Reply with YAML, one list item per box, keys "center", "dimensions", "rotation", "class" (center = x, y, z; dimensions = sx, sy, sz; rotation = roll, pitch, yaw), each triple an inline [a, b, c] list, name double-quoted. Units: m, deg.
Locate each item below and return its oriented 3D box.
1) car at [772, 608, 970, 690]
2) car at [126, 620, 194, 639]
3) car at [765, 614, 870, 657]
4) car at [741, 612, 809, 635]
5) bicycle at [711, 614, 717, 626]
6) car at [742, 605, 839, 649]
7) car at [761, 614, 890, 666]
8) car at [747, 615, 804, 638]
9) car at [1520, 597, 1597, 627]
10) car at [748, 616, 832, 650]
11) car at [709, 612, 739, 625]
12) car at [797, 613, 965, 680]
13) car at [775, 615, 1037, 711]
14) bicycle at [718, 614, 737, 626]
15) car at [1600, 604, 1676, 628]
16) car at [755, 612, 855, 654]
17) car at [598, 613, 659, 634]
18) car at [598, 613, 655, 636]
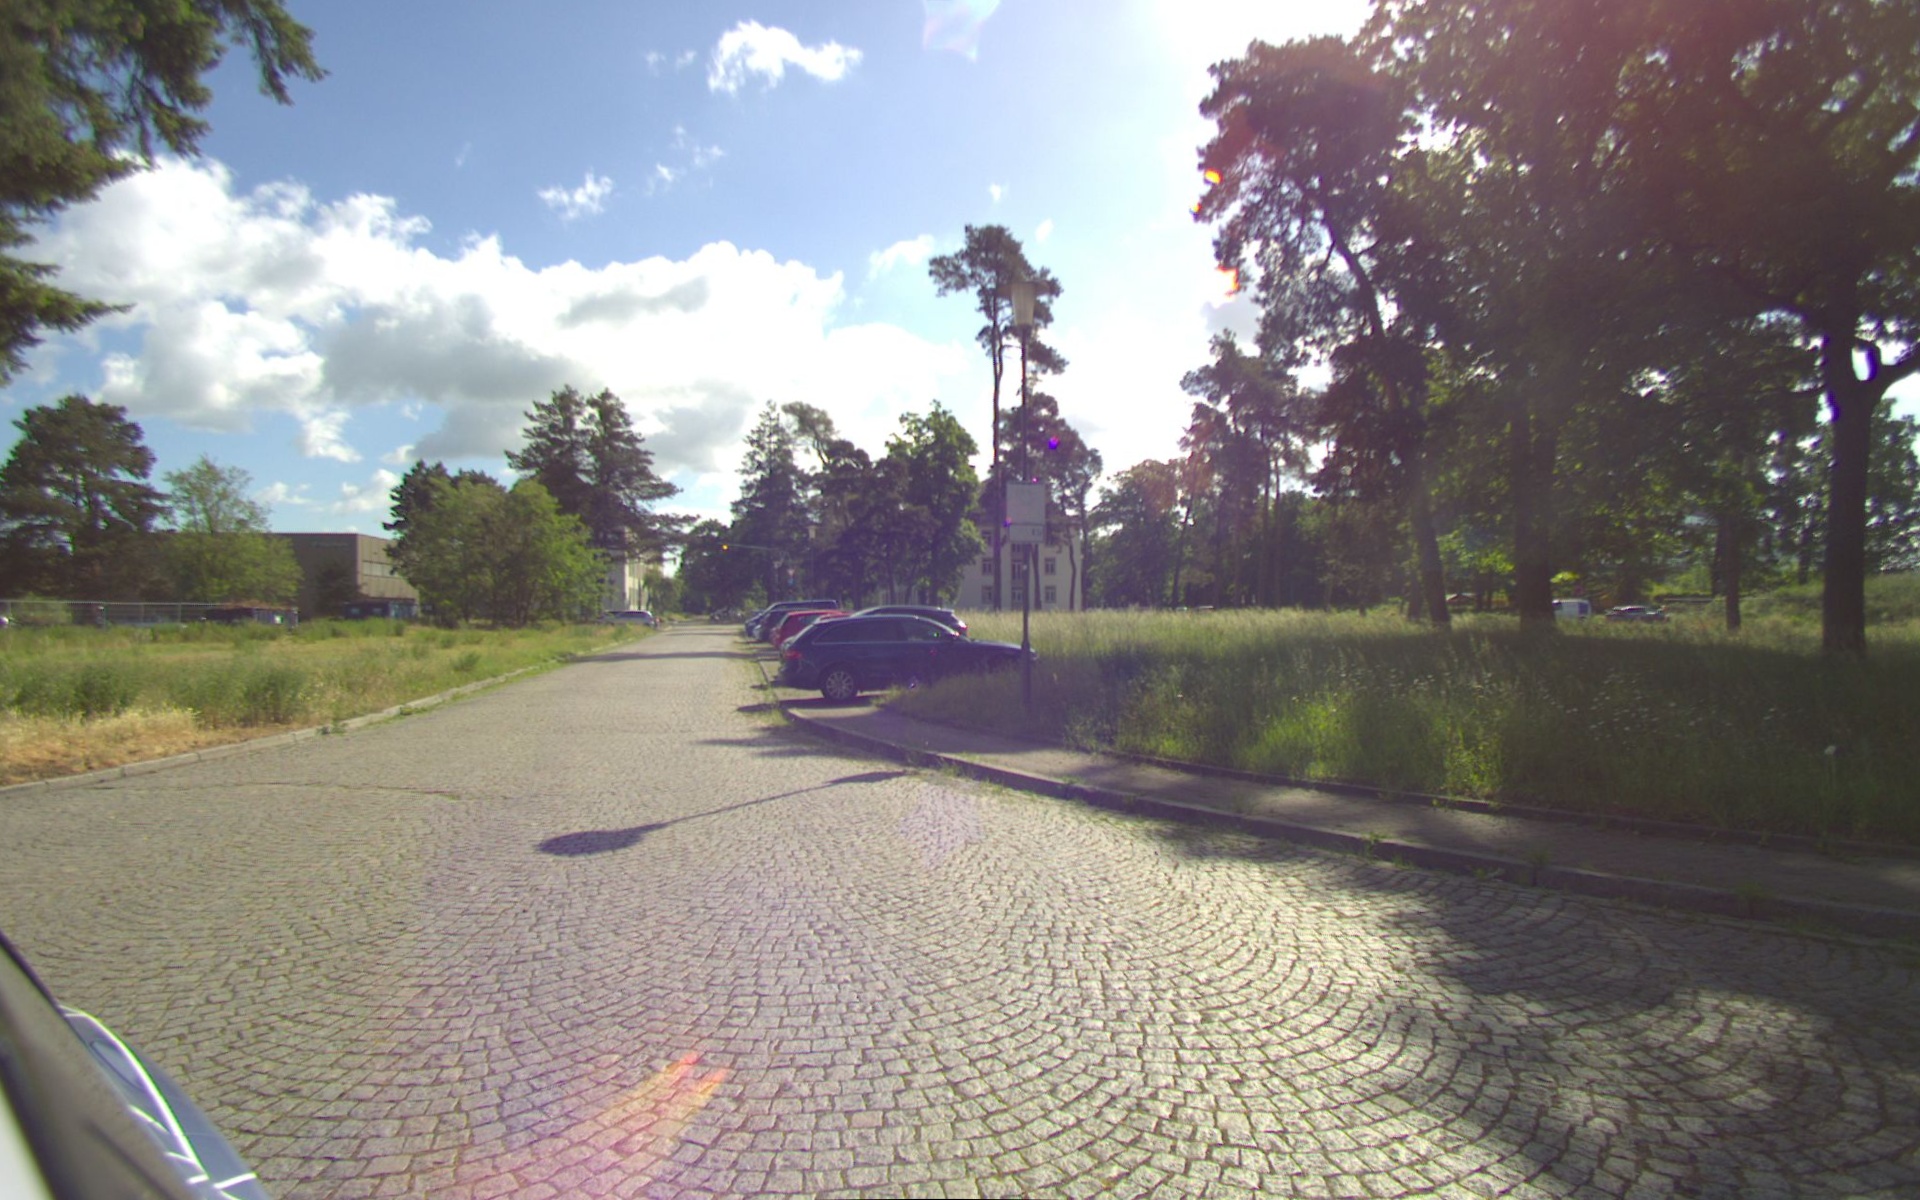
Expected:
- center: [-2.007, 1.032, 22.243]
  dimensions: [4.080, 1.591, 1.889]
  rotation: [-1, -1, -12]
  class: "car"
- center: [-63.966, 2.343, 80.961]
  dimensions: [3.933, 1.433, 1.750]
  rotation: [0, -2, -13]
  class: "car"
- center: [-5.618, 1.364, 39.794]
  dimensions: [3.870, 1.460, 1.871]
  rotation: [-2, -1, -14]
  class: "car"
- center: [-13.141, 1.631, 71.785]
  dimensions: [4.518, 1.463, 1.990]
  rotation: [-2, 0, -16]
  class: "car"
- center: [-29.141, 2.372, 119.846]
  dimensions: [0.611, 1.293, 2.121]
  rotation: [-2, 0, -17]
  class: "bicycle"
- center: [-8.561, 1.353, 51.083]
  dimensions: [4.655, 1.983, 2.010]
  rotation: [-2, 0, -12]
  class: "car"
- center: [-4.317, 1.259, 32.279]
  dimensions: [3.870, 1.472, 1.847]
  rotation: [-2, -1, -14]
  class: "car"
- center: [-13.559, 1.941, 74.374]
  dimensions: [3.972, 1.494, 1.954]
  rotation: [-2, -1, -14]
  class: "car"
- center: [44.766, 0.874, 75.724]
  dimensions: [4.782, 2.180, 1.962]
  rotation: [0, -1, -11]
  class: "car"
- center: [-8.160, 1.551, 48.543]
  dimensions: [3.764, 1.451, 1.688]
  rotation: [-2, 0, -15]
  class: "car"
- center: [-35.564, 2.786, 152.647]
  dimensions: [4.153, 1.928, 1.824]
  rotation: [0, -1, -22]
  class: "car"
- center: [-1.976, 1.097, 24.705]
  dimensions: [3.872, 1.444, 1.846]
  rotation: [-1, -1, -11]
  class: "car"
- center: [-1.016, 1.042, 17.654]
  dimensions: [4.303, 1.456, 1.924]
  rotation: [-1, -1, -9]
  class: "car"
- center: [-27.862, 2.403, 121.321]
  dimensions: [2.080, 1.293, 0.623]
  rotation: [-6, 1, -15]
  class: "bicycle"
- center: [46.436, 1.091, 69.378]
  dimensions: [4.173, 1.617, 1.917]
  rotation: [0, -1, -11]
  class: "car"
- center: [-6.509, 1.367, 42.403]
  dimensions: [3.900, 1.579, 1.979]
  rotation: [-2, -1, -14]
  class: "car"
- center: [-25.836, 1.847, 78.997]
  dimensions: [4.451, 1.476, 1.844]
  rotation: [2, -1, -15]
  class: "car"
- center: [-23.478, 1.706, 71.326]
  dimensions: [3.689, 1.487, 1.757]
  rotation: [2, -1, -14]
  class: "car"
